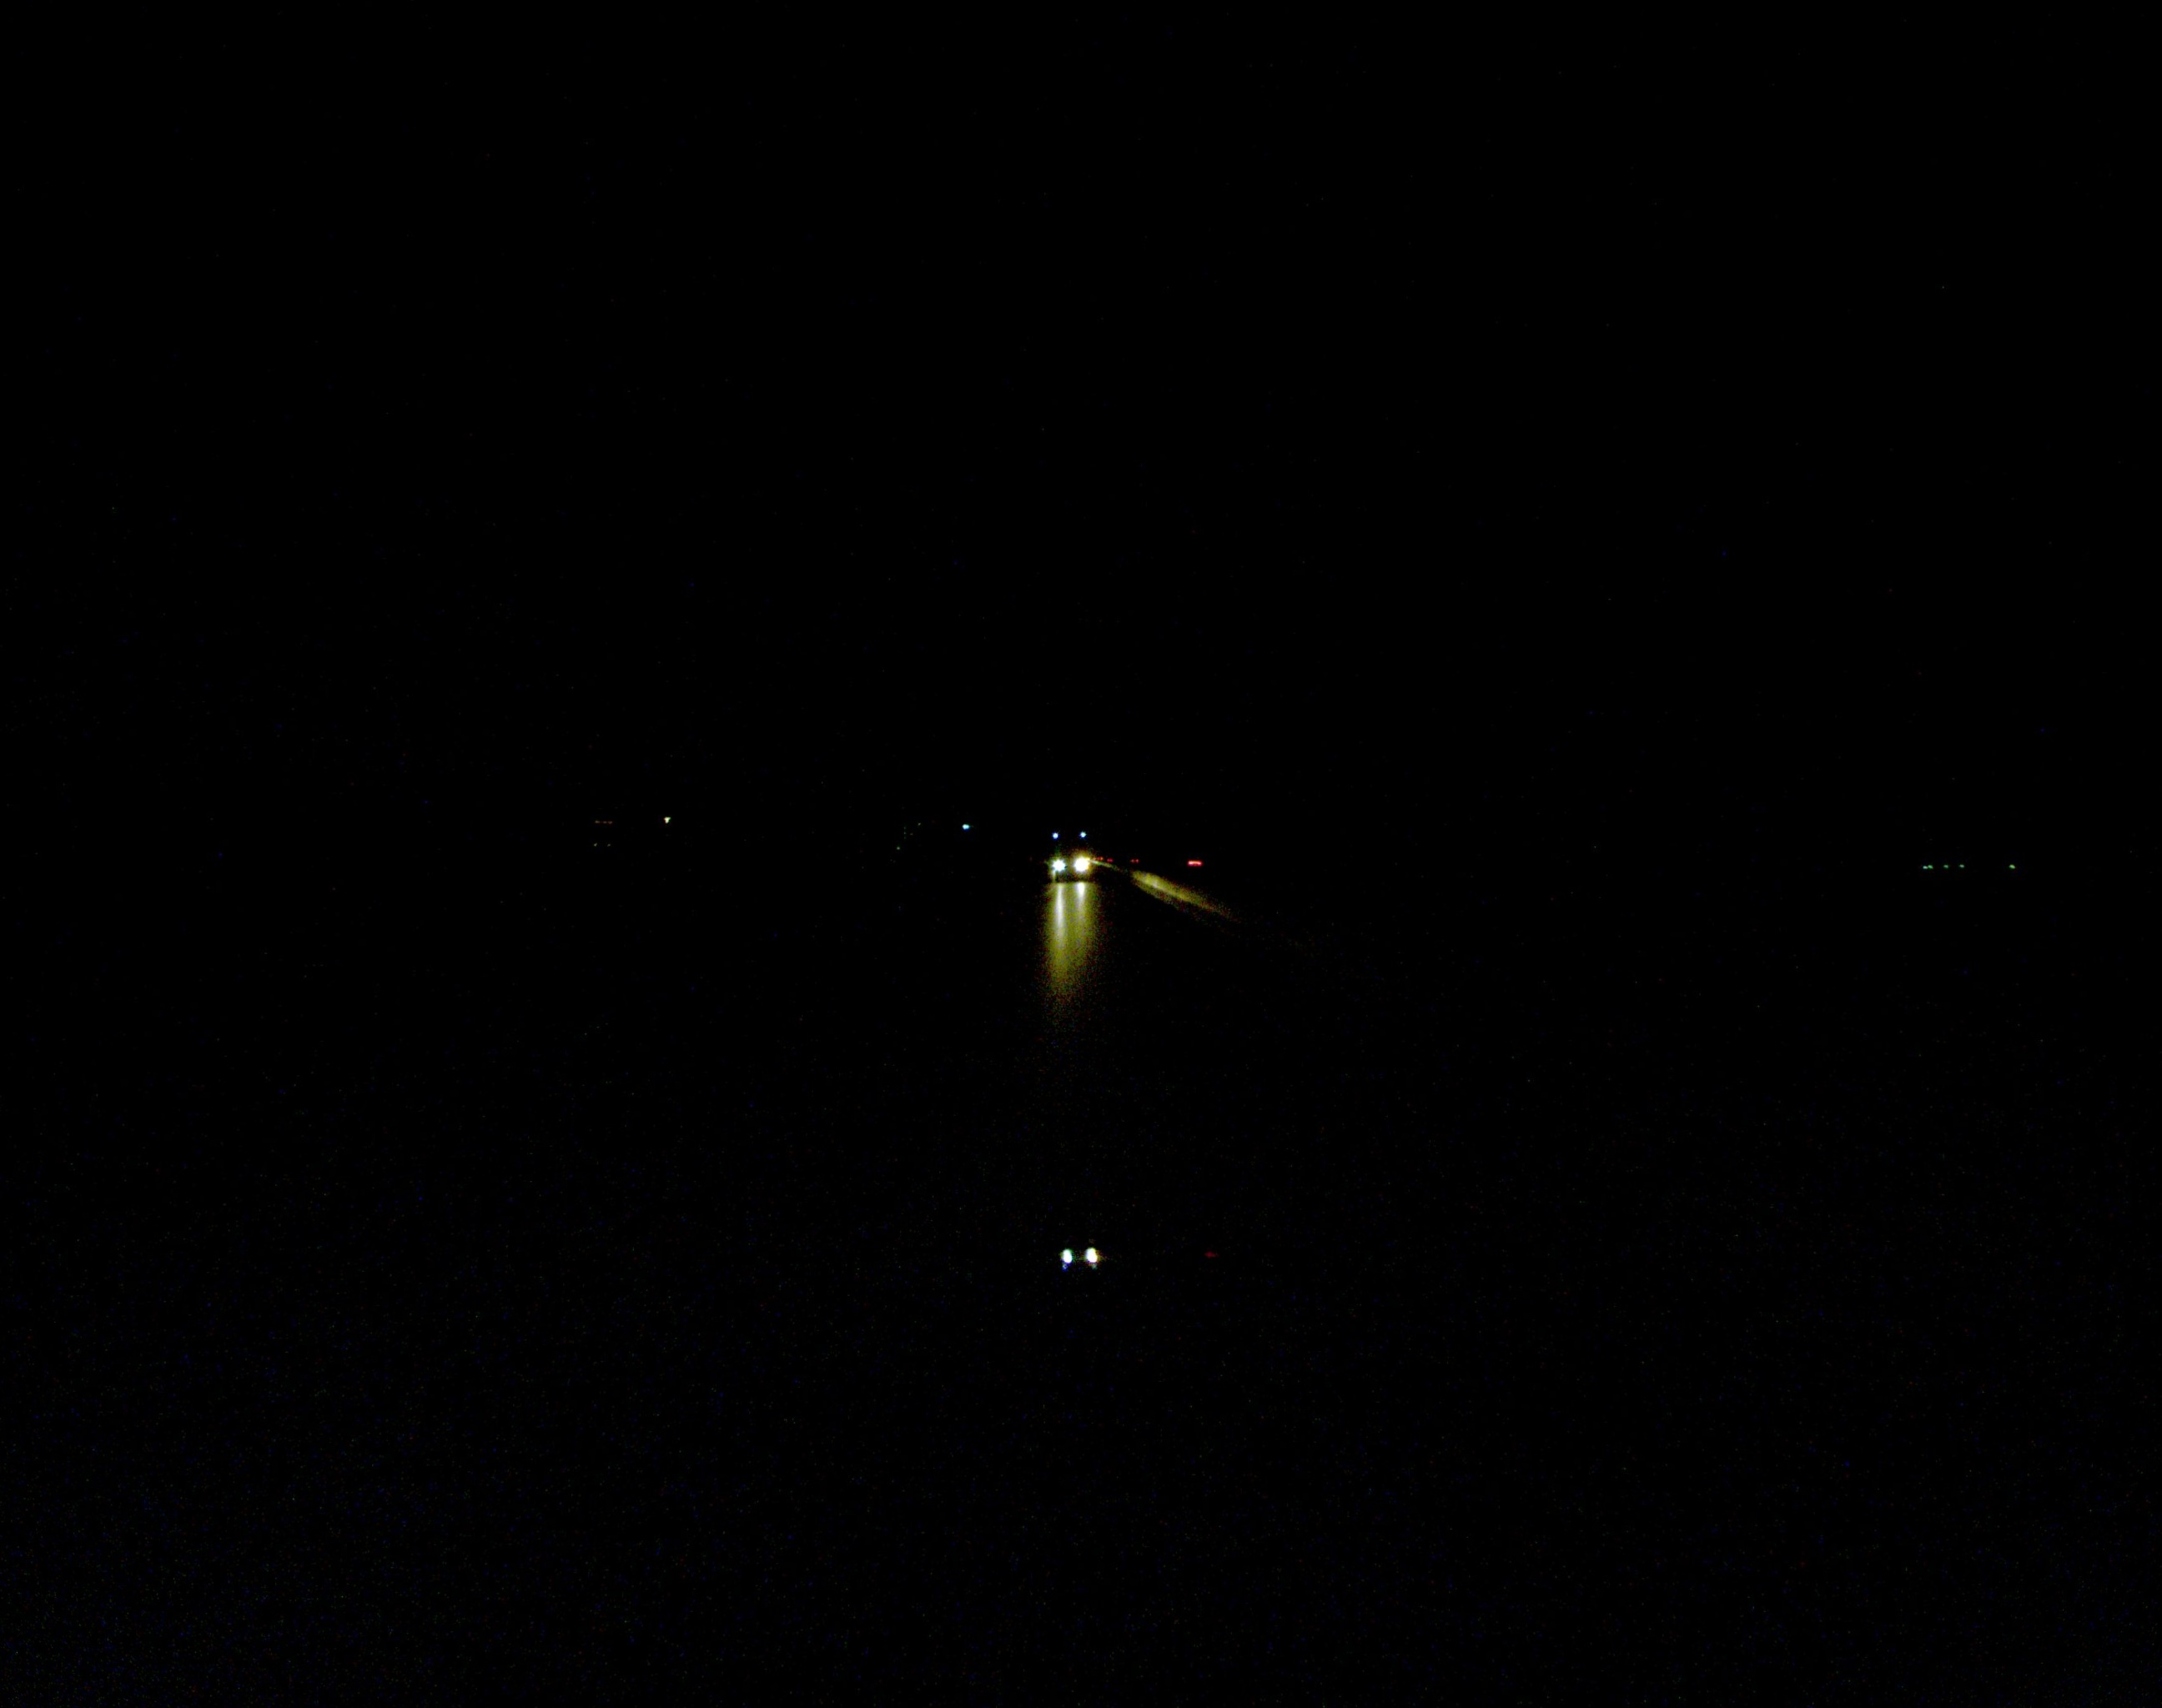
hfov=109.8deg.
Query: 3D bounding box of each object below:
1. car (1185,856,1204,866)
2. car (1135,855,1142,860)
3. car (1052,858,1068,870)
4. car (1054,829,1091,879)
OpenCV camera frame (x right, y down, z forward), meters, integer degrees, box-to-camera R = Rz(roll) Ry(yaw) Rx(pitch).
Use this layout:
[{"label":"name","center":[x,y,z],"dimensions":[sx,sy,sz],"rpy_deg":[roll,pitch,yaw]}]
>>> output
[{"label":"car","center":[16.880,0.970,113.239],"dimensions":[1.999,1.411,4.982],"rpy_deg":[1,0,-1]},{"label":"car","center":[19.129,1.272,254.542],"dimensions":[2.050,1.710,4.775],"rpy_deg":[1,0,1]},{"label":"car","center":[-2.793,1.352,103.084],"dimensions":[1.998,1.575,4.128],"rpy_deg":[-2,0,1]},{"label":"car","center":[-0.520,0.017,52.937],"dimensions":[2.255,3.205,6.878],"rpy_deg":[-2,0,1]}]
